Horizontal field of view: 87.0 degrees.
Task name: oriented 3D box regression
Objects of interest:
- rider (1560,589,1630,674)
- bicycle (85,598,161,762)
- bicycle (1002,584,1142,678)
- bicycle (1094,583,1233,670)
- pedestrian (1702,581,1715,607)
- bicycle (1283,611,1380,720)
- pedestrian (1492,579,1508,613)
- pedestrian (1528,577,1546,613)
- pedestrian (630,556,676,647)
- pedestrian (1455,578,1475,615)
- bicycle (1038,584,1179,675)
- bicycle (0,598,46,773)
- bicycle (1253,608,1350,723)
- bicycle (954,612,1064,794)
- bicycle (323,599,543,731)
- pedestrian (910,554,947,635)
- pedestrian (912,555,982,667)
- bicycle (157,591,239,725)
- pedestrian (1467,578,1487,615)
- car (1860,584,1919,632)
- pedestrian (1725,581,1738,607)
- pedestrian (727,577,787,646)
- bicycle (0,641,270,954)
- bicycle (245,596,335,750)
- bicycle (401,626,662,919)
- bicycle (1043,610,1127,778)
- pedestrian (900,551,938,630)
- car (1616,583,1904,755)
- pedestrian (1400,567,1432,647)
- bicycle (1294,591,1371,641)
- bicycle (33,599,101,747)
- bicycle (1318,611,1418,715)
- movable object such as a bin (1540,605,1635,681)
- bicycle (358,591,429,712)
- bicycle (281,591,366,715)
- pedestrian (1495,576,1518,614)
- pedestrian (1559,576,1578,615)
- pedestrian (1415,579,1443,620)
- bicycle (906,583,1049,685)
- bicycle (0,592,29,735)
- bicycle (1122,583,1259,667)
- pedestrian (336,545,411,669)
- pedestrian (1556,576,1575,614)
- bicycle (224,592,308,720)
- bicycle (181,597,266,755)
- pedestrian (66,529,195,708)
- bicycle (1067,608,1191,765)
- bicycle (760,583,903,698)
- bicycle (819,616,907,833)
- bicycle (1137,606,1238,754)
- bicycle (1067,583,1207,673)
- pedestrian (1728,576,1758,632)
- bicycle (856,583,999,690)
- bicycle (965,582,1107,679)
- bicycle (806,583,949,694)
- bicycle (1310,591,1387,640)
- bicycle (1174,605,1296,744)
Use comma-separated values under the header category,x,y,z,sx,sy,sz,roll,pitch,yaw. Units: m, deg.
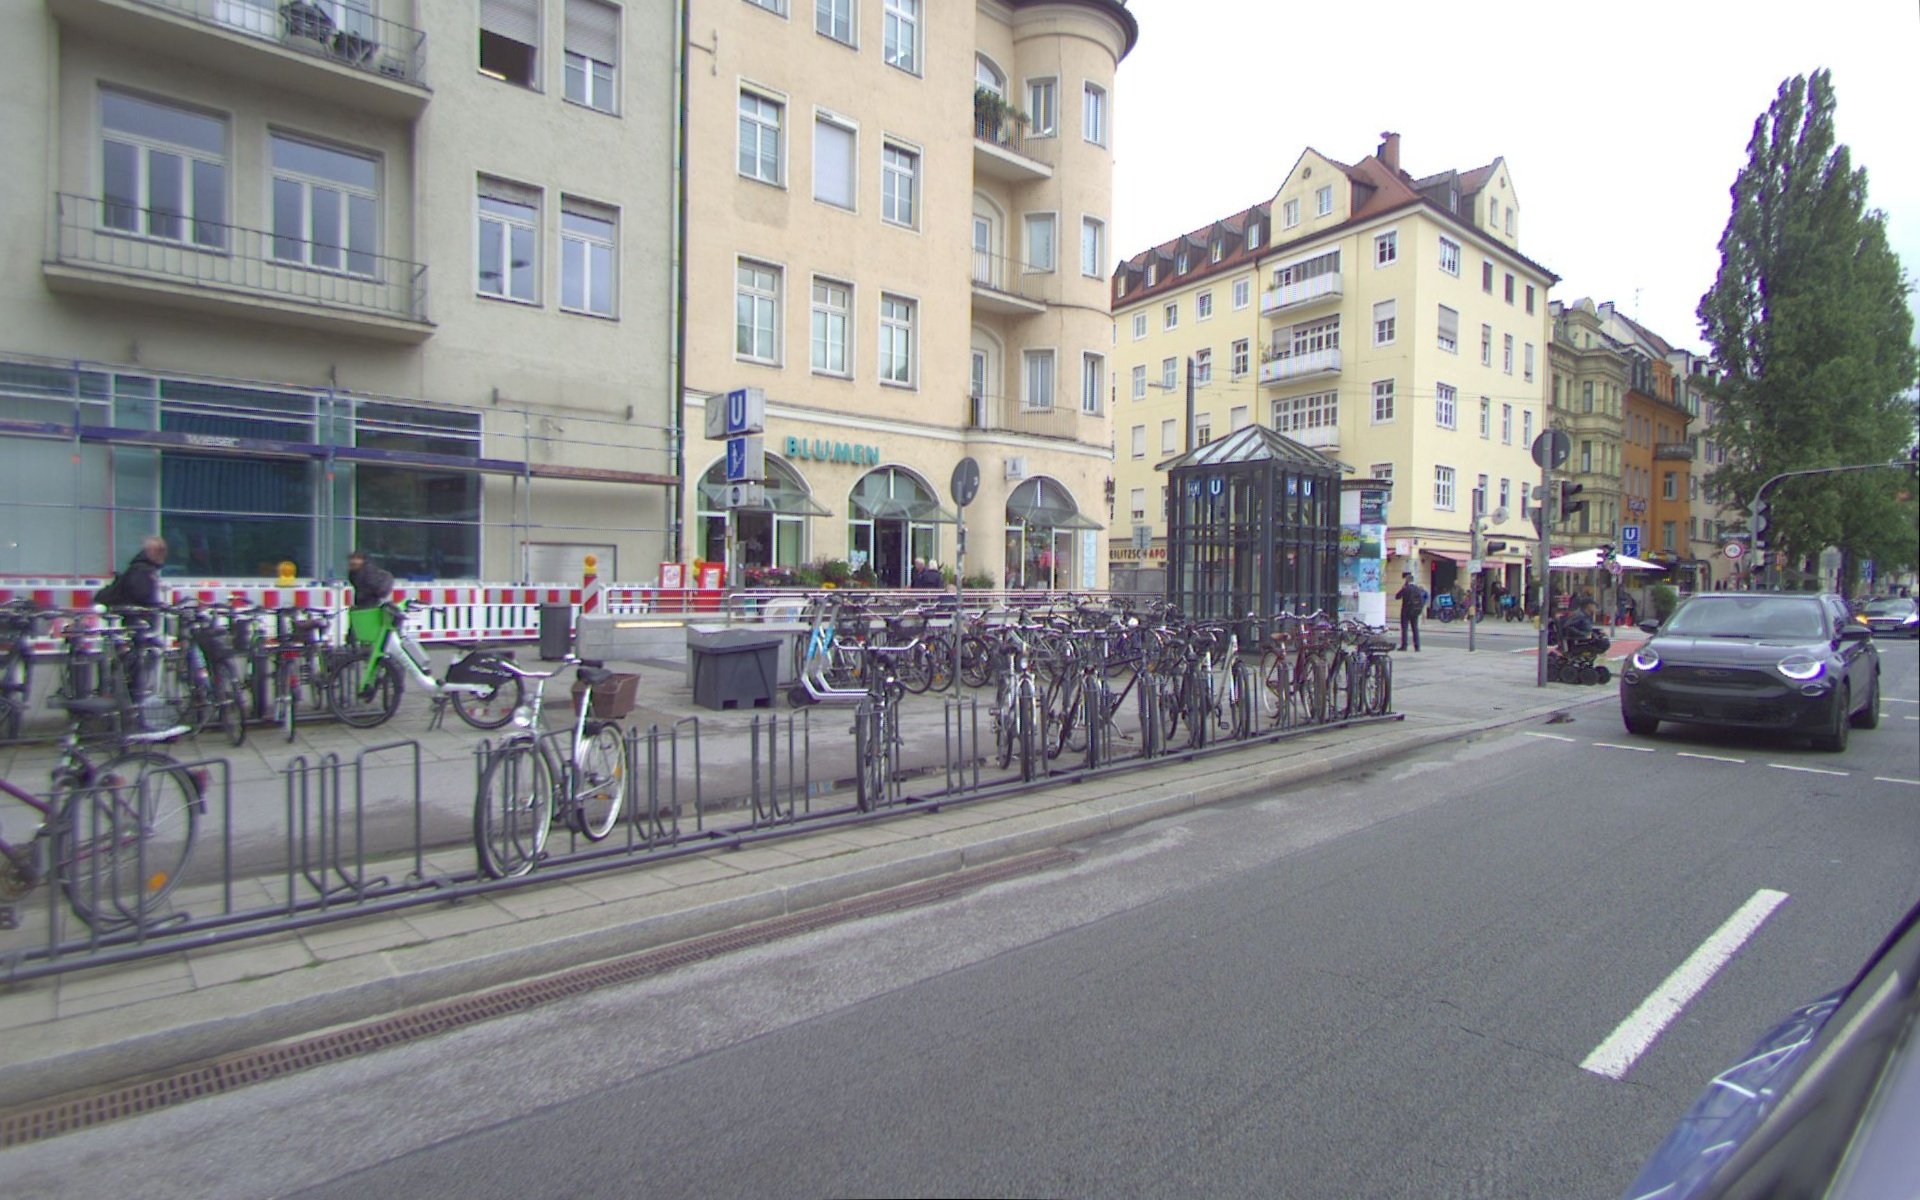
category,x,y,z,sx,sy,sz,roll,pitch,yaw
rider,10.025,0.479,15.978,0.721,1.256,0.731,-1,4,-44
bicycle,-6.581,0.570,7.936,0.403,1.091,1.624,0,3,-42
bicycle,1.613,0.410,15.035,0.617,1.242,2.318,0,2,-38
bicycle,3.197,0.378,16.168,0.617,1.242,2.318,0,2,-38
pedestrian,49.713,-0.370,67.180,0.575,1.705,0.552,0,1,-40
bicycle,3.963,0.679,10.923,0.390,1.073,1.851,0,-2,2
pedestrian,24.933,-0.183,46.713,0.525,1.545,0.578,2,1,36
pedestrian,27.629,-0.248,48.462,0.575,1.705,0.552,0,1,-40
pedestrian,-5.363,0.009,17.662,0.580,1.560,0.565,-2,3,-42
pedestrian,21.397,-0.144,42.898,0.575,1.545,0.528,0,1,-40
bicycle,2.202,0.399,15.372,0.617,1.242,2.318,0,2,-38
bicycle,-6.969,0.568,7.276,0.402,1.091,1.640,0,3,-36
bicycle,3.460,0.648,10.398,0.390,1.073,1.851,0,-2,2
bicycle,0.314,0.684,7.539,0.578,1.151,1.797,0,0,-5
bicycle,-4.641,0.566,8.958,1.728,1.091,0.410,1,2,-1
pedestrian,-0.674,-0.129,21.805,0.580,1.722,0.565,-2,3,-42
pedestrian,-0.202,0.153,16.038,0.804,1.713,0.747,2,1,36
bicycle,-7.067,0.494,9.369,1.449,1.091,0.403,3,3,45
pedestrian,21.695,-0.142,42.487,0.575,1.545,0.528,0,1,-40
car,34.212,0.253,36.721,3.930,1.644,1.853,-1,1,-41
pedestrian,51.192,-0.385,67.158,0.575,1.705,0.552,0,1,-40
pedestrian,-3.907,0.198,19.495,0.903,1.260,0.700,-2,3,-42
bicycle,-3.477,0.694,3.795,0.390,1.073,1.849,-1,-2,4
bicycle,-5.608,0.553,8.437,0.403,1.091,1.653,0,3,-42
bicycle,-2.060,0.742,5.129,0.481,1.151,1.794,0,0,3
bicycle,0.945,0.672,7.923,0.341,1.151,1.527,0,0,-5
pedestrian,-0.947,-0.233,23.261,0.634,1.760,0.617,-2,3,-42
car,8.602,0.576,10.763,3.980,1.488,1.738,0,1,-42
pedestrian,10.420,0.149,23.112,0.634,1.799,0.605,1,1,26
bicycle,9.239,0.386,25.181,0.597,1.142,1.828,2,1,-28
bicycle,-7.611,0.571,8.627,0.403,1.091,1.528,0,3,-42
bicycle,4.542,0.688,11.390,0.390,1.073,1.851,0,-2,2
movable object such as a bin,9.941,0.658,16.044,0.735,1.075,1.088,-1,4,-43
bicycle,-5.899,0.491,10.501,0.403,1.091,1.651,0,3,-38
bicycle,-6.359,0.489,10.084,1.449,1.091,0.403,3,3,45
pedestrian,24.363,-0.228,45.140,0.672,1.687,0.622,1,1,6
pedestrian,27.010,-0.208,44.907,0.575,1.705,0.552,0,1,-40
pedestrian,18.343,-0.023,39.578,0.817,1.586,0.714,-1,0,-40
bicycle,0.185,0.412,13.856,0.617,1.242,2.343,0,2,-38
bicycle,-8.243,0.506,8.545,1.447,1.091,0.404,3,3,41
bicycle,3.740,0.366,16.619,0.617,1.242,2.318,0,2,-38
pedestrian,-8.087,0.083,13.961,0.819,1.652,0.564,0,1,-38
pedestrian,27.346,-0.223,45.703,0.575,1.705,0.552,0,1,-40
bicycle,-6.688,0.497,9.733,1.449,1.091,0.403,3,3,45
bicycle,-5.970,0.560,8.178,0.403,1.091,1.604,0,3,-42
pedestrian,-8.373,0.170,10.234,0.728,1.729,0.703,1,1,9
bicycle,1.367,0.659,8.487,0.468,1.151,1.681,0,0,-11
bicycle,-1.631,0.442,12.459,0.617,1.242,2.369,0,2,-38
bicycle,-0.584,0.707,6.529,0.480,1.151,1.797,0,0,-3
bicycle,1.965,0.647,8.927,0.469,1.151,1.679,0,0,-2
bicycle,2.706,0.389,15.740,0.617,1.242,2.318,0,2,-38
pedestrian,25.924,0.119,33.522,0.729,1.823,0.701,2,3,40
bicycle,-0.478,0.420,13.215,0.617,1.242,2.318,0,2,-38
bicycle,1.041,0.385,14.562,0.617,1.242,2.331,0,2,-38
bicycle,-1.098,0.431,12.862,0.617,1.242,2.343,0,2,-38
bicycle,9.777,0.376,25.532,0.597,1.142,1.828,2,1,-28
bicycle,2.520,0.633,9.475,0.468,1.151,1.787,0,0,-7
